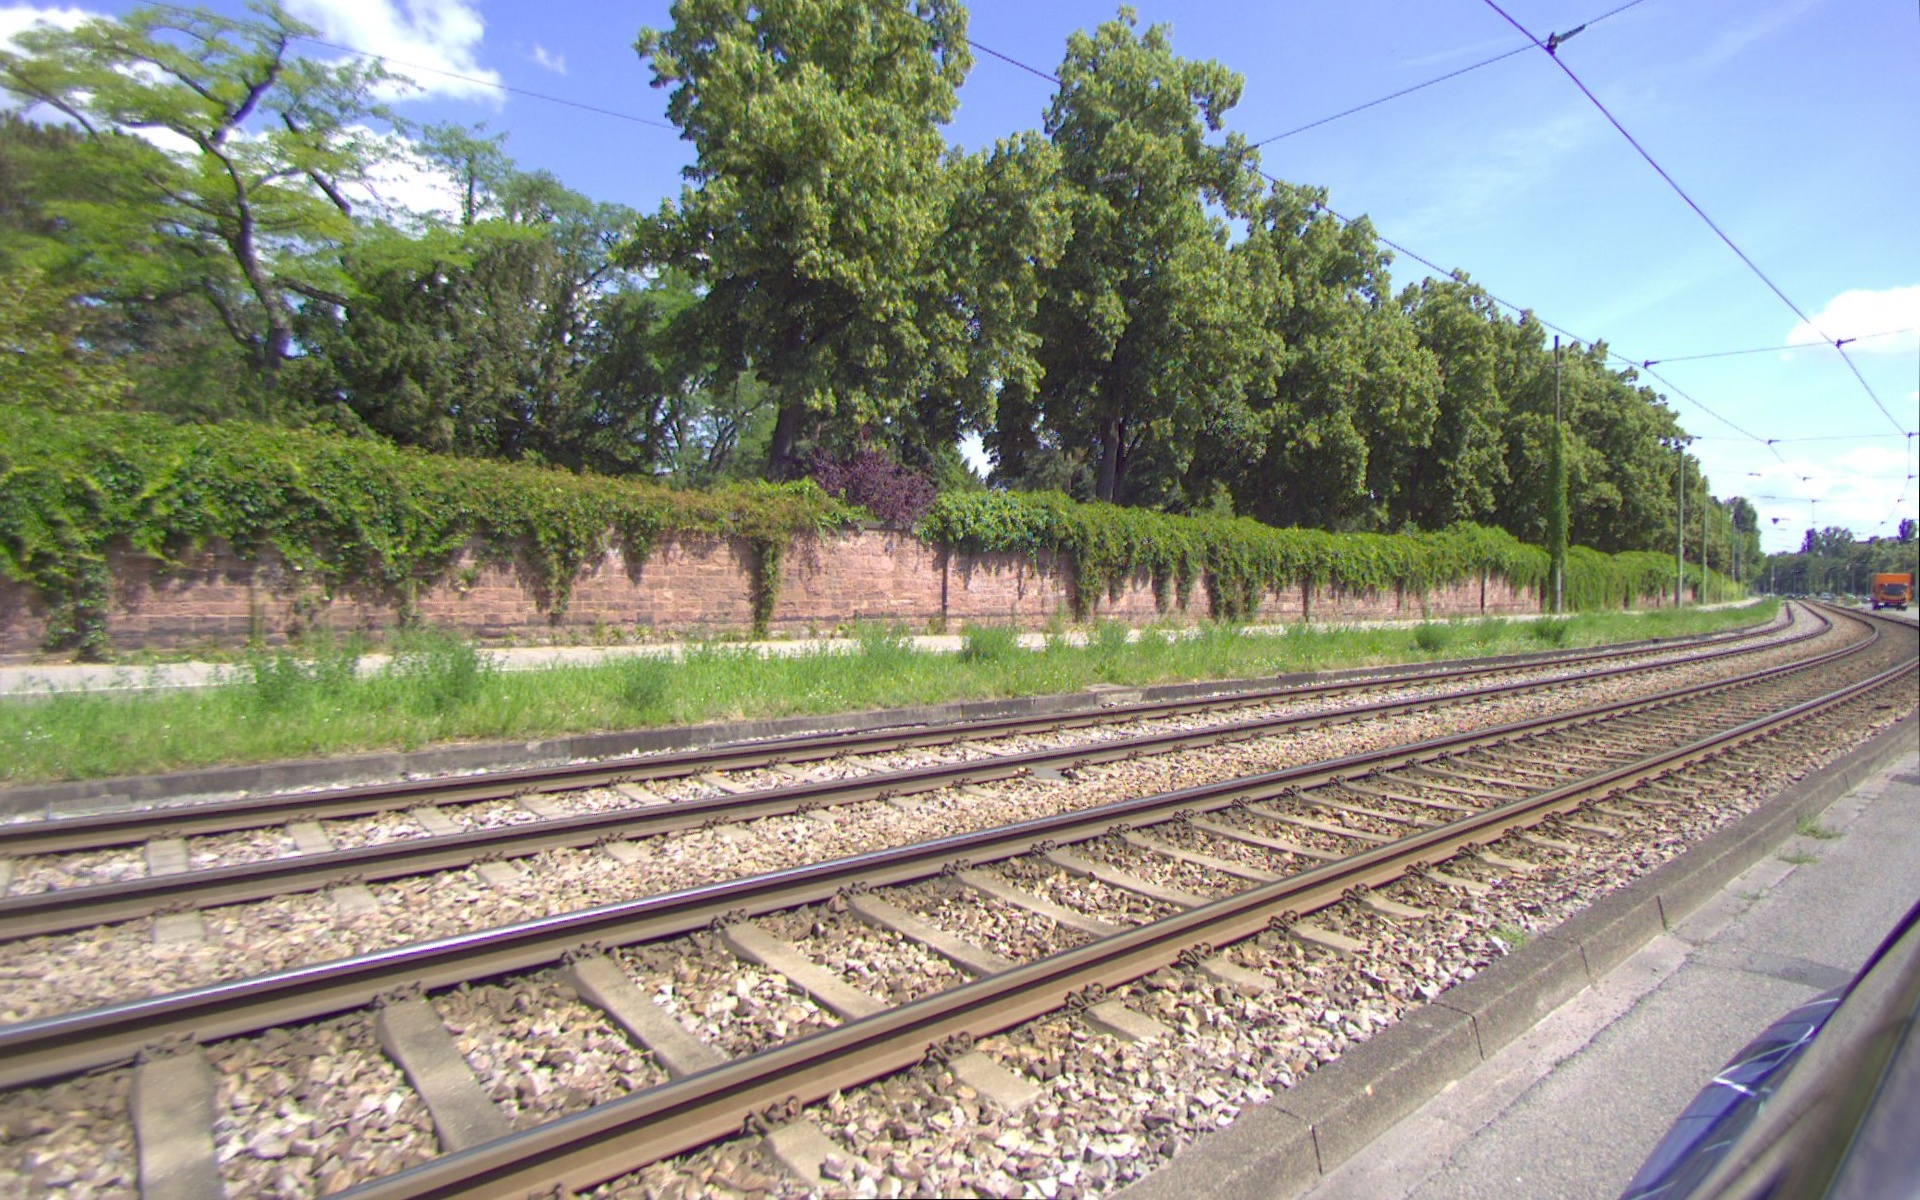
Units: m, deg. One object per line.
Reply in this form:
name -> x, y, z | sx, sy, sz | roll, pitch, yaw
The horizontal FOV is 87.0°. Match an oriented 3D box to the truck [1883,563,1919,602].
truck -> 91.402, -1.751, 98.012 | 2.836, 3.640, 8.576 | 1, 1, 41
